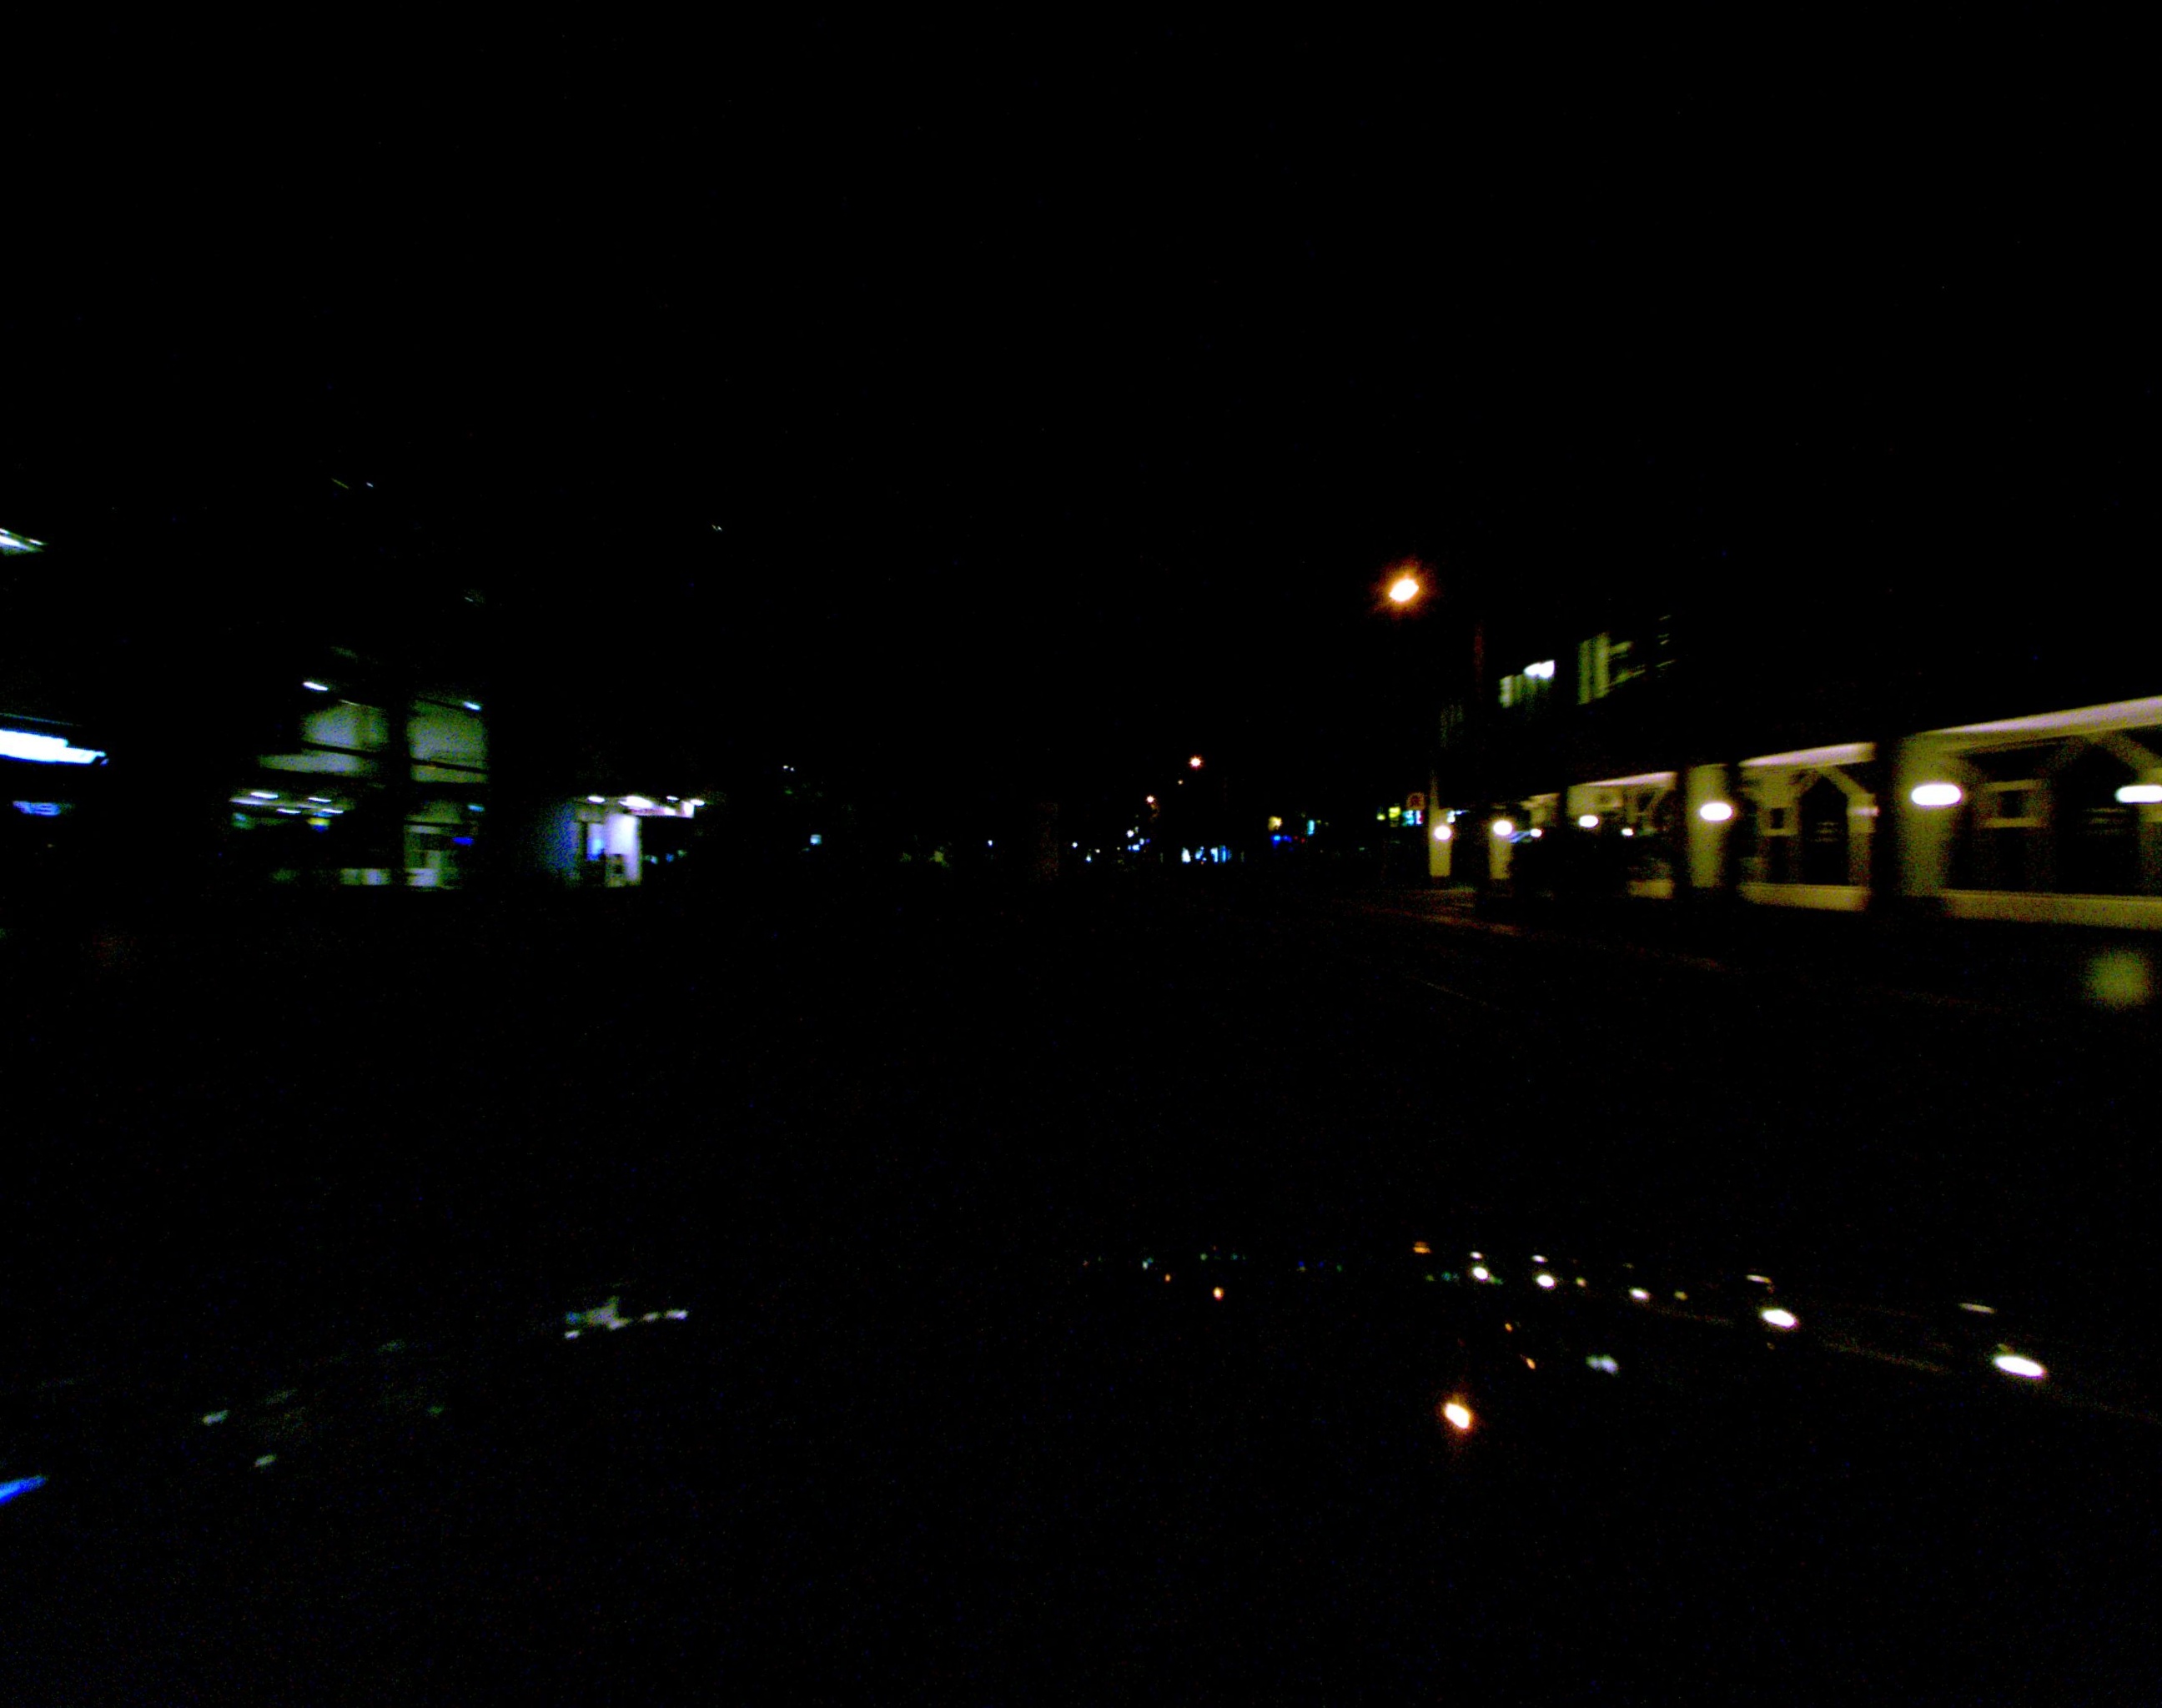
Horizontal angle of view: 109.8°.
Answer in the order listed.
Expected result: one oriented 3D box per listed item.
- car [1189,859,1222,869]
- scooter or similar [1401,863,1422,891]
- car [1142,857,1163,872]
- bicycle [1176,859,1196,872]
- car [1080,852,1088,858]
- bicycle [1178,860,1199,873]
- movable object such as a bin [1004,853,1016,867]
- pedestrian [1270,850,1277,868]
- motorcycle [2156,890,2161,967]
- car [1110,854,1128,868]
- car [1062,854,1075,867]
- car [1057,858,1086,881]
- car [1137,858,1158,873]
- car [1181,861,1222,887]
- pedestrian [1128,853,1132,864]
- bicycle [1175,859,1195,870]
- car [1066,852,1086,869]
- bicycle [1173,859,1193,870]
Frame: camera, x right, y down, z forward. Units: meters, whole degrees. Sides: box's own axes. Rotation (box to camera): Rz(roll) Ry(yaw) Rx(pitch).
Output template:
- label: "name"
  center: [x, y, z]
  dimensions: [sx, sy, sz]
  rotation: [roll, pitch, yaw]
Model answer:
- label: "car"
  center: [17.048, 1.338, 104.159]
  dimensions: [4.339, 1.389, 1.803]
  rotation: [0, 0, -1]
- label: "scooter or similar"
  center: [14.769, 1.032, 33.981]
  dimensions: [0.388, 1.214, 1.344]
  rotation: [0, 0, 3]
- label: "car"
  center: [7.281, 1.062, 77.461]
  dimensions: [1.726, 1.420, 3.976]
  rotation: [-2, 0, 0]
- label: "bicycle"
  center: [10.126, 1.149, 73.212]
  dimensions: [1.855, 1.246, 0.532]
  rotation: [0, 0, 0]
- label: "car"
  center: [0.835, 0.239, 206.267]
  dimensions: [1.737, 1.492, 4.002]
  rotation: [1, 0, 5]
- label: "bicycle"
  center: [10.122, 1.198, 71.662]
  dimensions: [1.855, 1.159, 0.532]
  rotation: [0, 0, 0]
- label: "movable object such as a bin"
  center: [-7.084, 0.587, 75.835]
  dimensions: [1.163, 1.363, 0.993]
  rotation: [-1, 0, -1]
- label: "pedestrian"
  center: [17.298, 0.473, 68.278]
  dimensions: [0.479, 1.627, 0.632]
  rotation: [0, 1, 1]
- label: "motorcycle"
  center: [14.327, 0.982, 9.206]
  dimensions: [0.479, 1.014, 1.676]
  rotation: [0, 0, 11]
- label: "car"
  center: [5.645, 1.047, 113.916]
  dimensions: [1.858, 2.075, 5.088]
  rotation: [-2, 0, -5]
- label: "car"
  center: [-1.793, 0.926, 110.219]
  dimensions: [1.793, 1.811, 4.579]
  rotation: [1, 0, -1]
- label: "car"
  center: [-0.617, 0.979, 50.736]
  dimensions: [1.768, 1.406, 4.808]
  rotation: [1, 0, 1]
- label: "car"
  center: [7.250, 1.228, 82.817]
  dimensions: [1.811, 1.416, 4.921]
  rotation: [-2, 0, 0]
- label: "car"
  center: [7.028, 1.131, 44.588]
  dimensions: [1.745, 1.405, 4.495]
  rotation: [-1, 0, 1]
- label: "pedestrian"
  center: [8.609, 0.801, 134.299]
  dimensions: [0.720, 1.795, 0.716]
  rotation: [0, 0, 1]
- label: "bicycle"
  center: [10.106, 1.046, 73.936]
  dimensions: [1.855, 1.029, 0.532]
  rotation: [-2, 0, 0]
- label: "car"
  center: [-0.459, 0.582, 69.624]
  dimensions: [1.694, 1.528, 4.015]
  rotation: [1, 0, 1]
- label: "bicycle"
  center: [9.995, 1.049, 74.629]
  dimensions: [1.855, 0.994, 0.532]
  rotation: [-2, 0, 0]
